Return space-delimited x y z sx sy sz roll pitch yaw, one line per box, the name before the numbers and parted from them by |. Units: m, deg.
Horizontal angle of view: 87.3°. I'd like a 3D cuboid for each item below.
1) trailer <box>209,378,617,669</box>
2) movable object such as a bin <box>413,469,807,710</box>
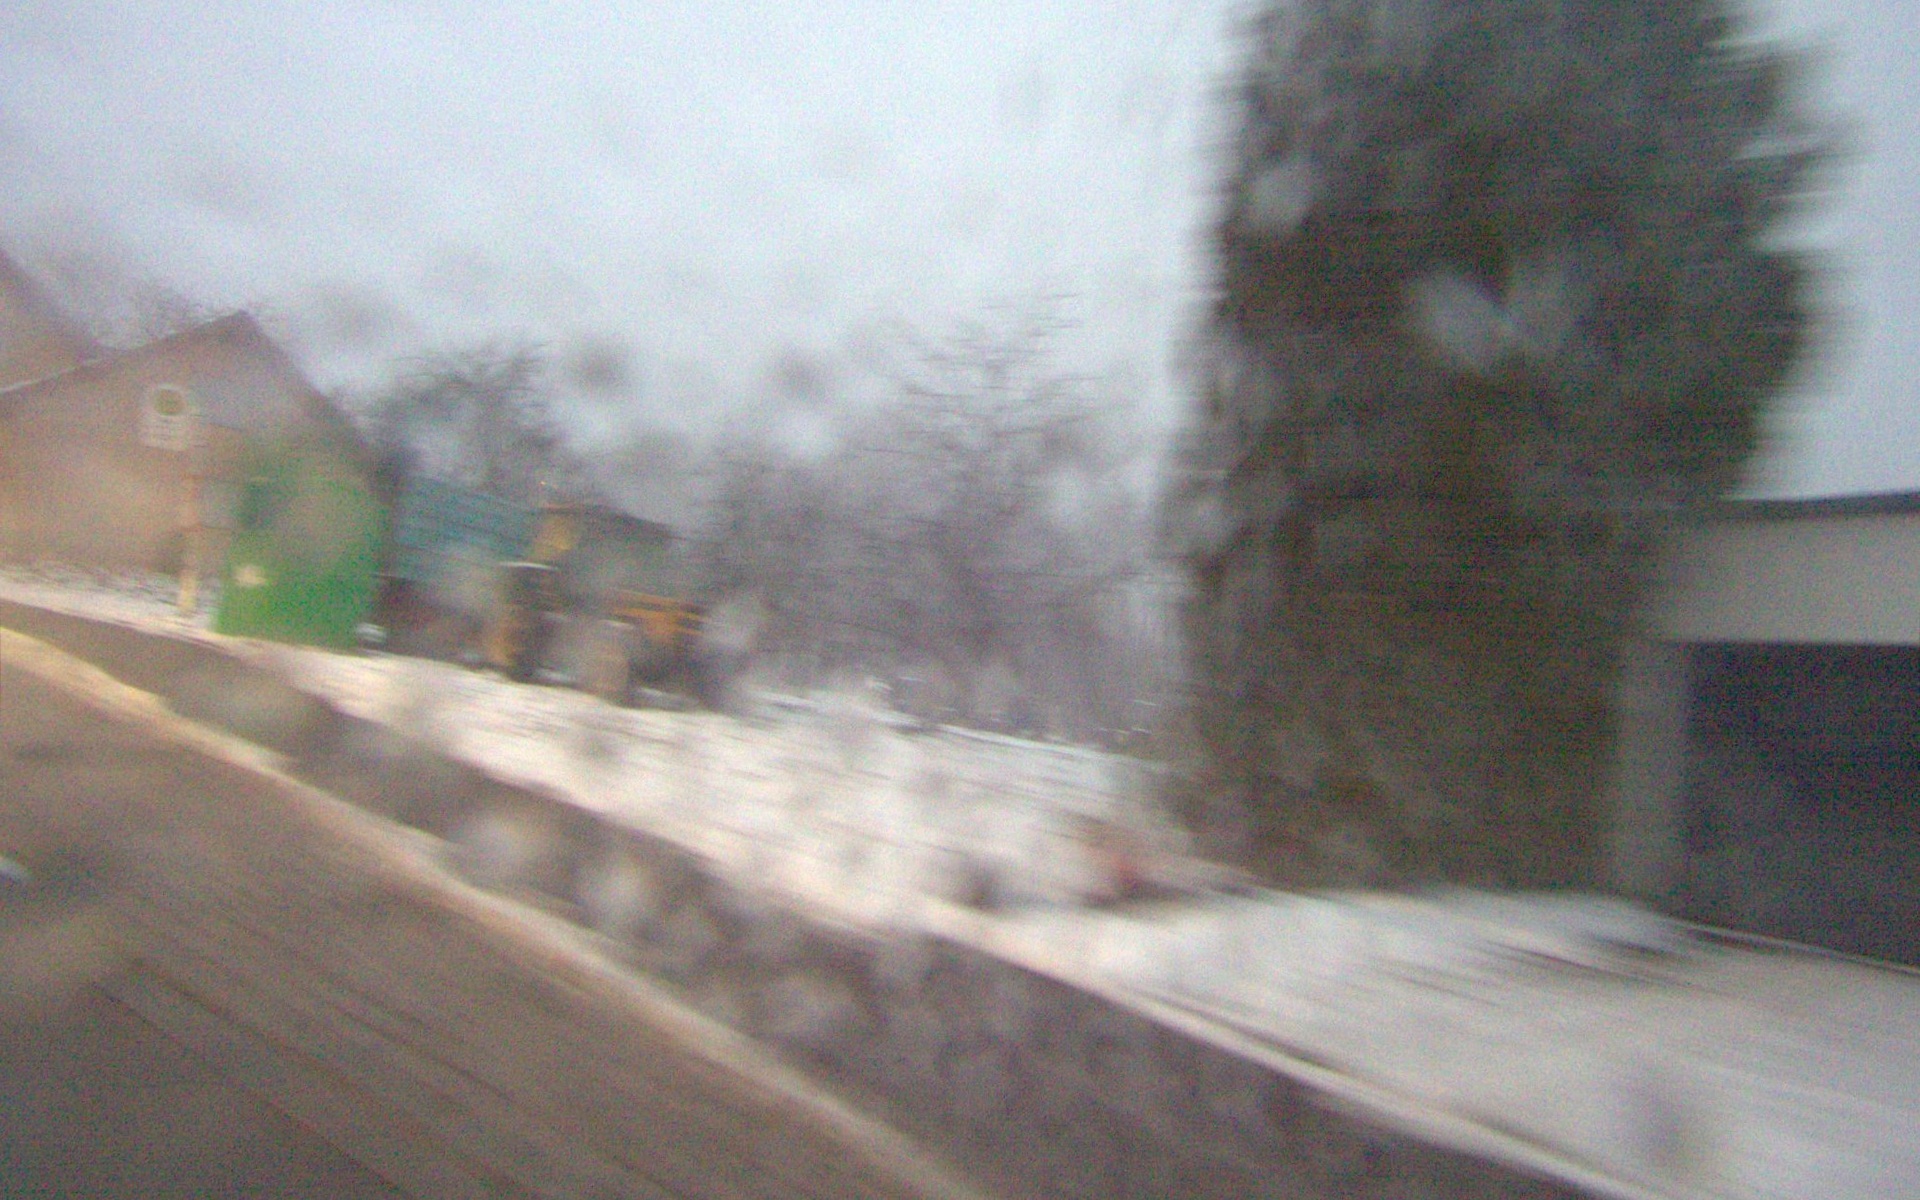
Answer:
trailer | -8.275 -1.104 15.262 4.976 3.601 2.882 6 -2 29
movable object such as a bin | -4.521 -0.169 12.830 4.445 2.497 2.390 5 -3 35
